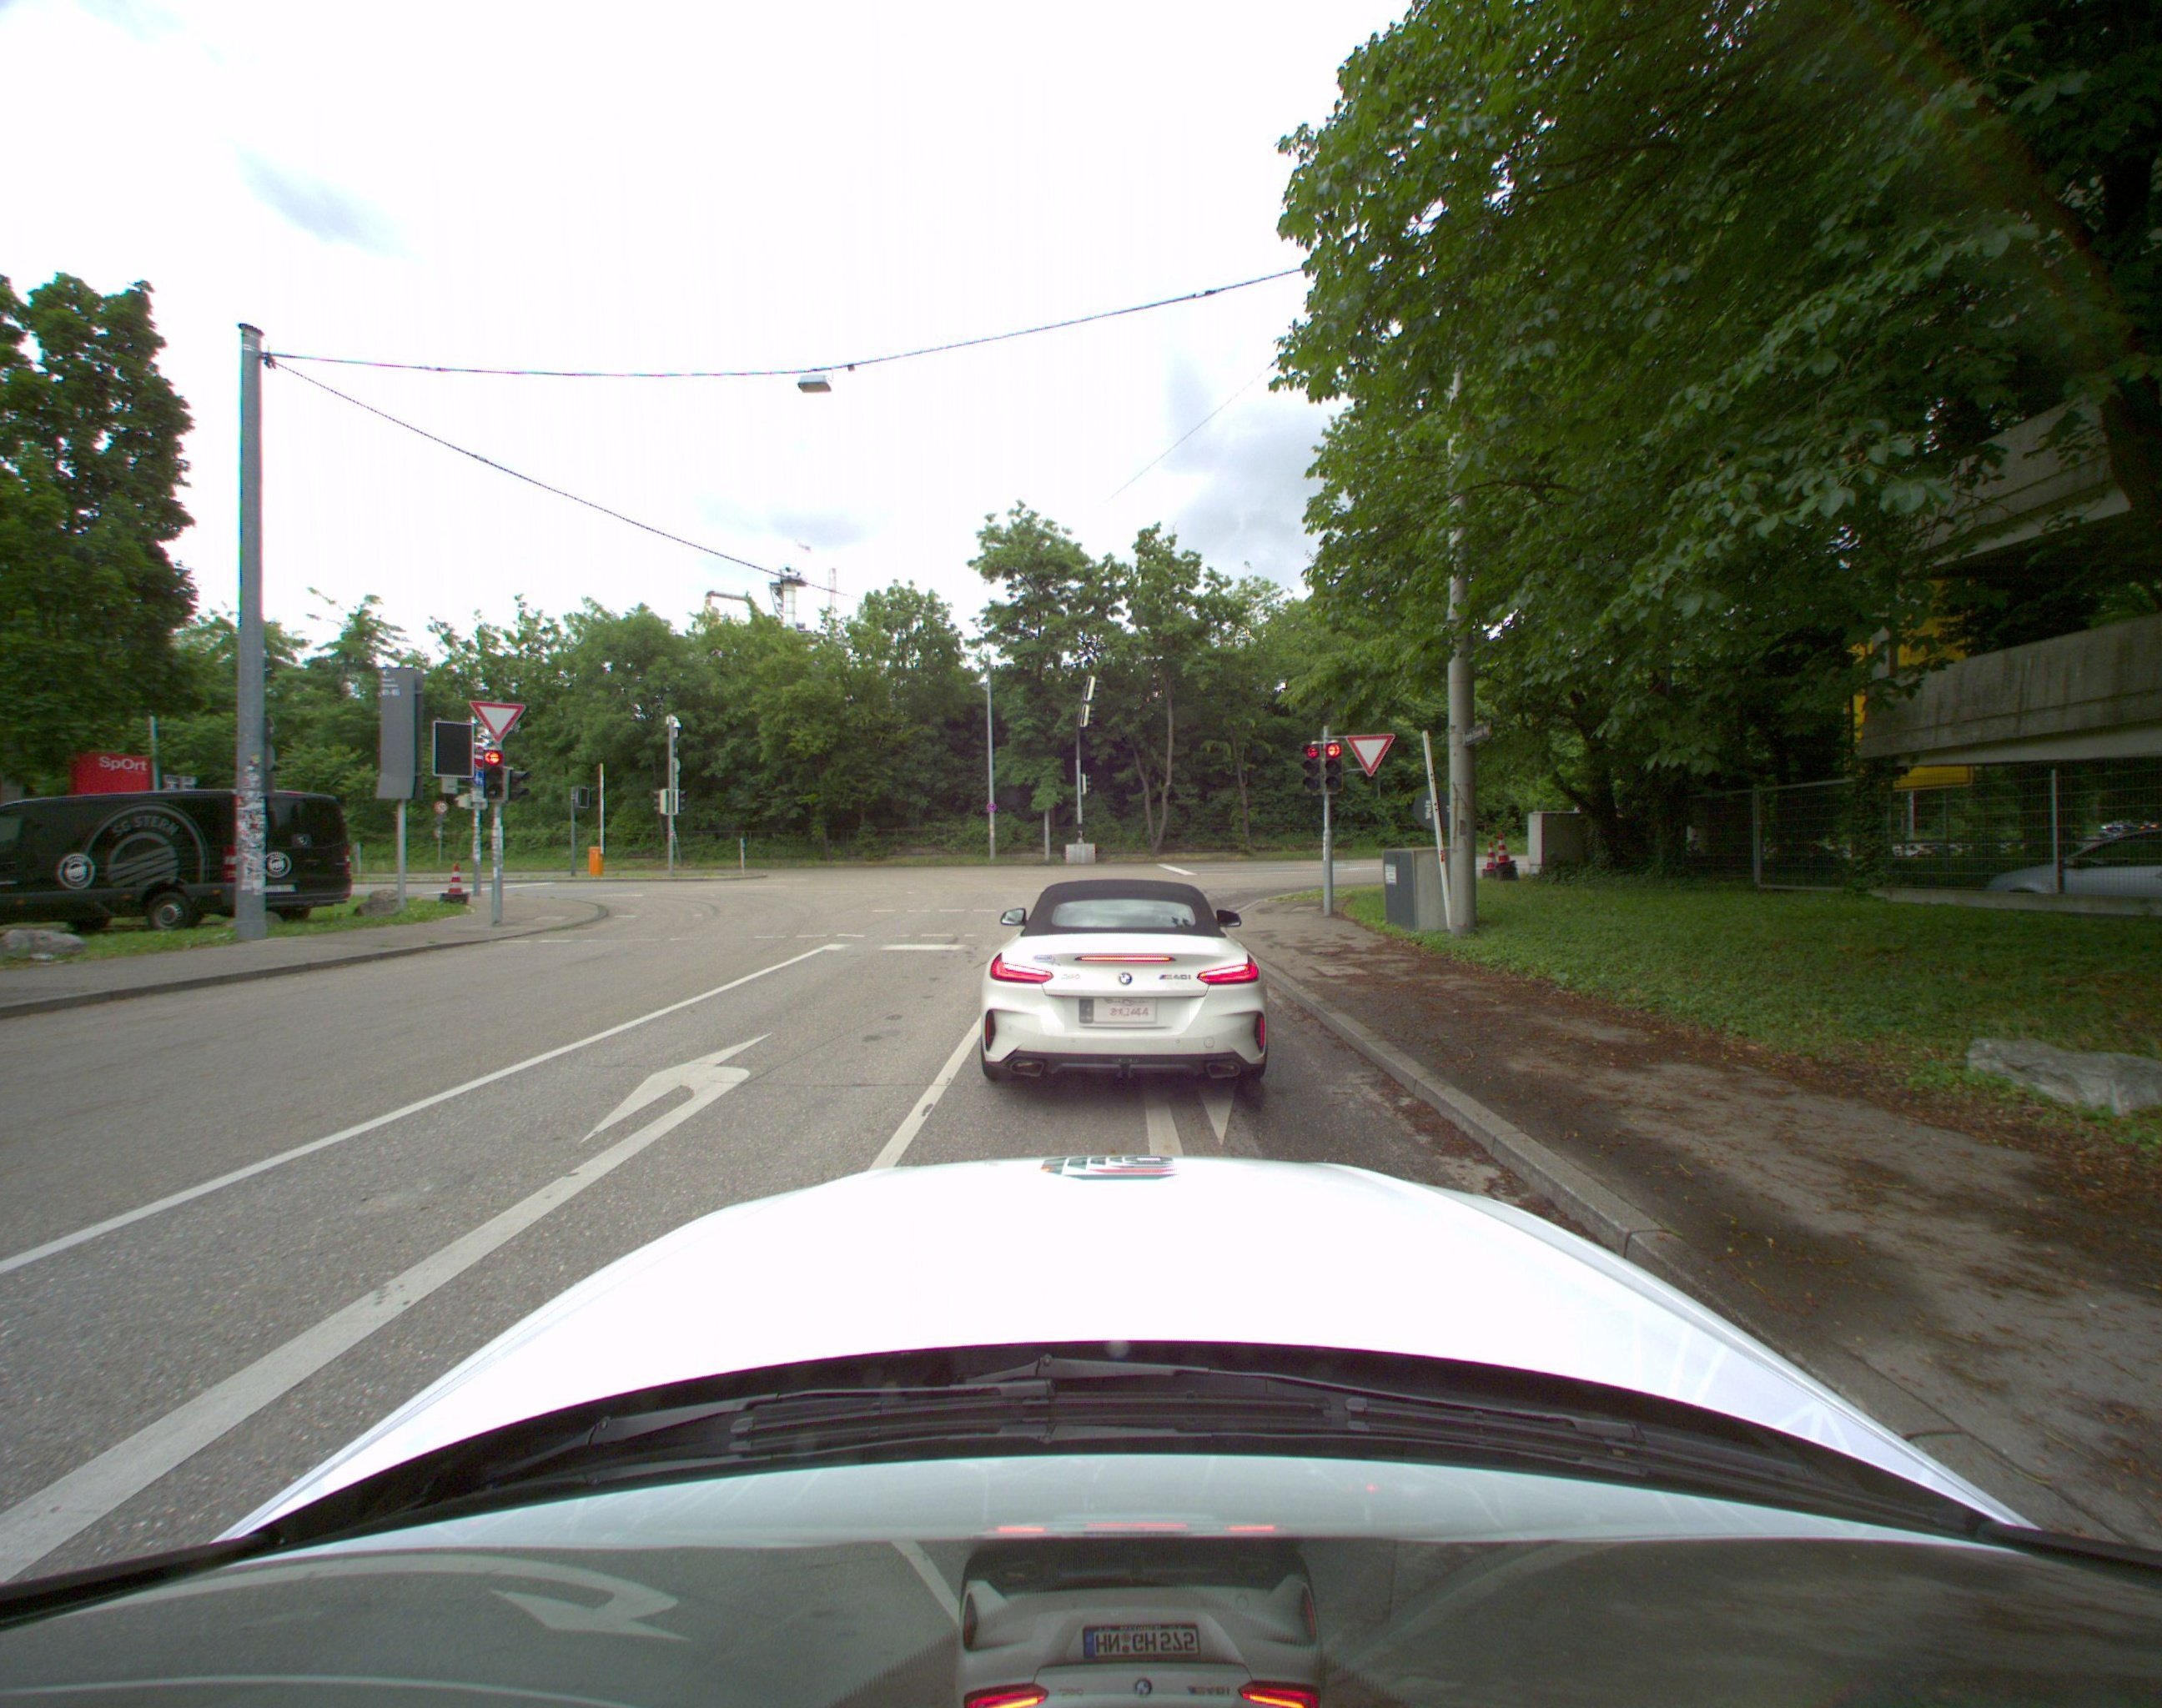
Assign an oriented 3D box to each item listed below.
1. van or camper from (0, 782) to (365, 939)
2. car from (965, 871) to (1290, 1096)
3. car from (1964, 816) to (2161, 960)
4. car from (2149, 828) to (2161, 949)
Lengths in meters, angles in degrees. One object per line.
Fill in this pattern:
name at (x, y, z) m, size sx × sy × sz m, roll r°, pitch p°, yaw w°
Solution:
van or camper at (-15.896, 0.166, 13.945) m, size 5.513 × 2.314 × 2.063 m, roll -2°, pitch -2°, yaw 2°
car at (0.262, 0.780, 6.579) m, size 1.822 × 1.257 × 3.998 m, roll 0°, pitch -2°, yaw 0°
car at (13.607, 0.420, 10.041) m, size 1.475 × 1.708 × 3.720 m, roll 0°, pitch -2°, yaw 2°
car at (16.001, 0.445, 9.733) m, size 1.574 × 1.708 × 3.770 m, roll 0°, pitch -2°, yaw 2°
